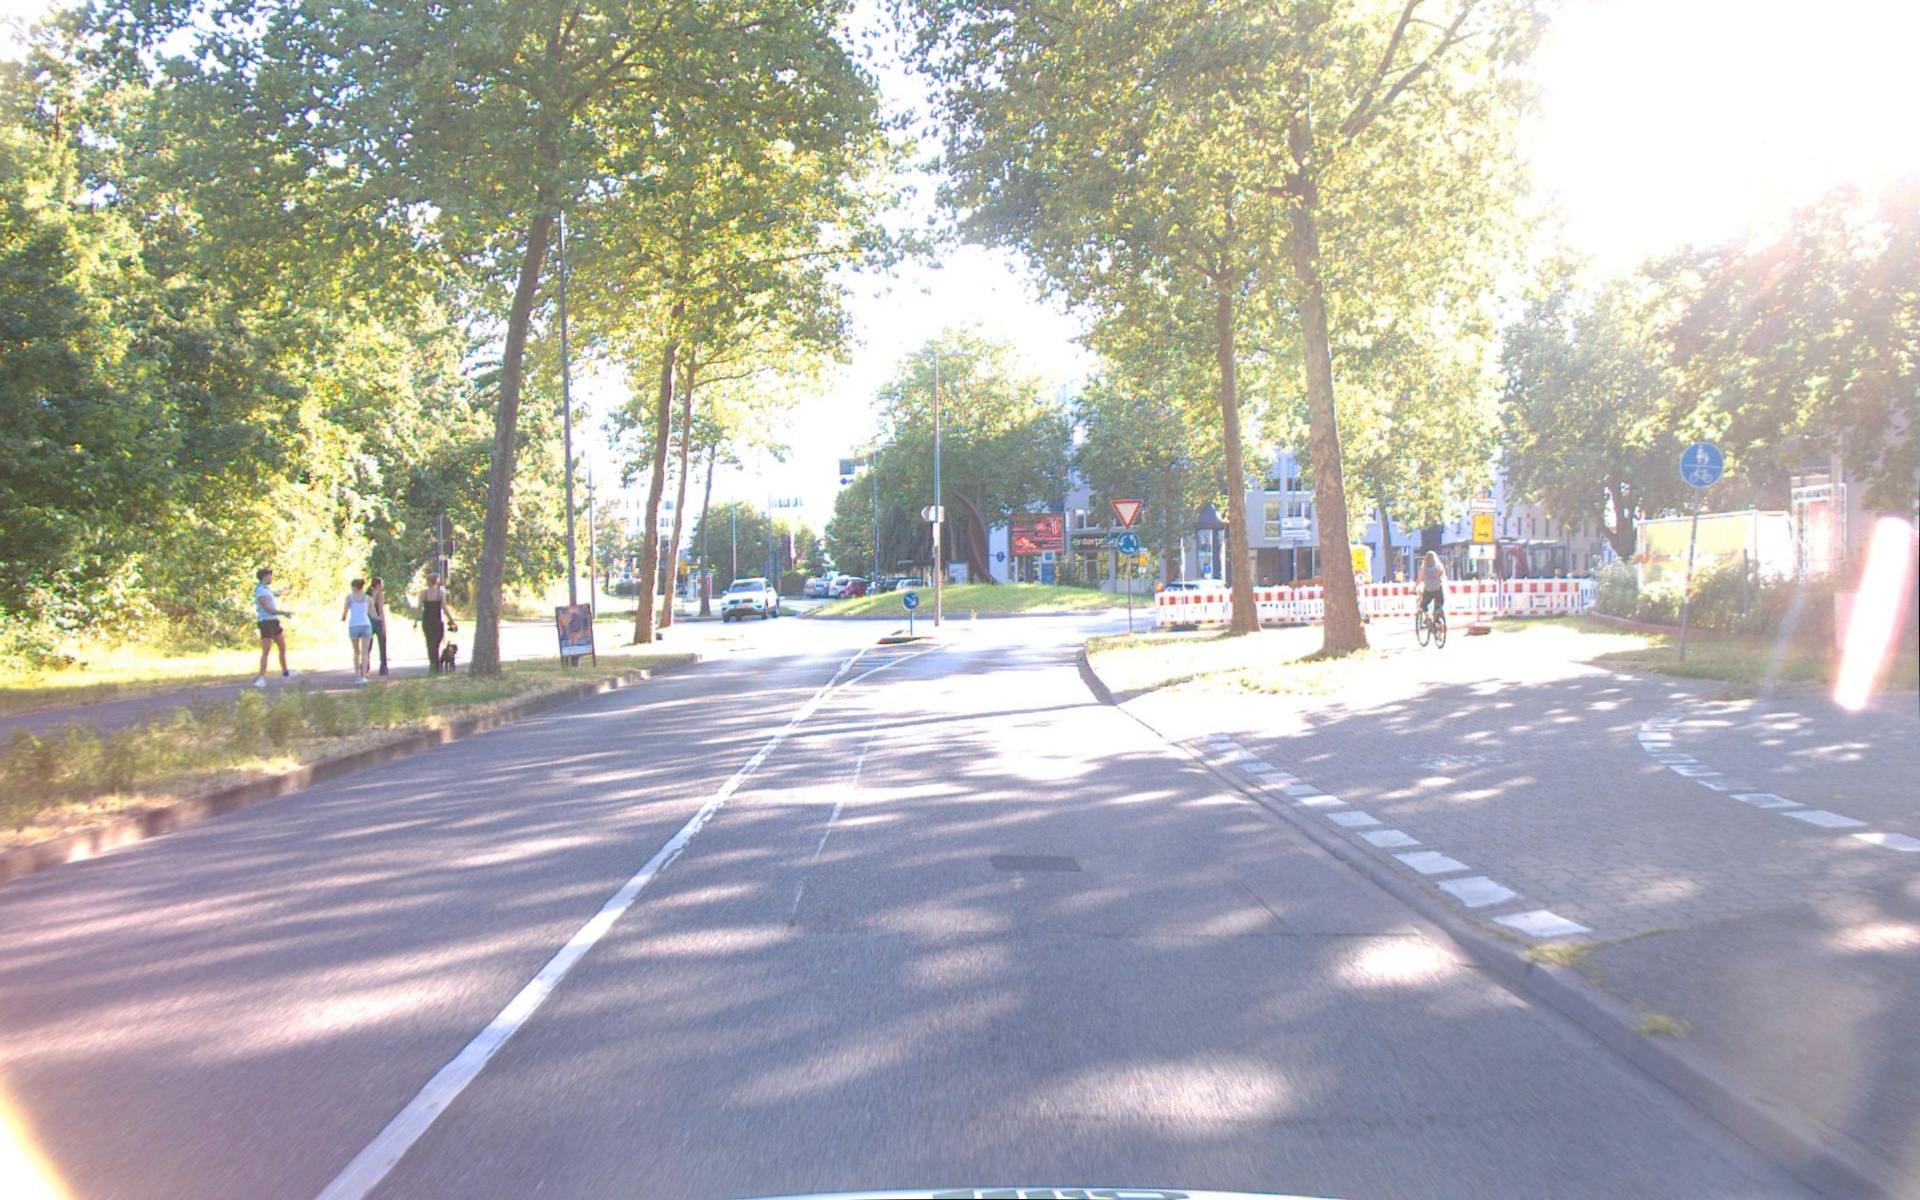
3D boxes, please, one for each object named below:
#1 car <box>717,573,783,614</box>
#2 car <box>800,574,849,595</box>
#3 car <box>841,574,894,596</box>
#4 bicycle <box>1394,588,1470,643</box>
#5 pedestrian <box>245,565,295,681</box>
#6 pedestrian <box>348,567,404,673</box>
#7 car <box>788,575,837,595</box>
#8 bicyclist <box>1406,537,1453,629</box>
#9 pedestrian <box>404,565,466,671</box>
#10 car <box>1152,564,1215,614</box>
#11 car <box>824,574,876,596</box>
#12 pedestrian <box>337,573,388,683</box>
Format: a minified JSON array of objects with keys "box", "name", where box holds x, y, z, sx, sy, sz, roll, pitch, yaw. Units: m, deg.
[{"box":[-8.573,-0.299,67.925,1.952,1.606,4.002,-1,1,4],"name":"car"},{"box":[-11.857,-1.358,144.548,3.946,1.777,1.777,0,1,-31],"name":"car"},{"box":[-7.471,-1.200,133.974,3.946,1.777,1.777,0,1,-31],"name":"car"},{"box":[8.974,0.284,31.535,0.754,0.981,2.174,-3,0,-1],"name":"bicycle"},{"box":[-10.668,0.344,25.586,0.653,1.769,0.631,-1,1,-21],"name":"pedestrian"},{"box":[-9.958,0.330,28.224,0.651,1.769,0.751,-1,1,1],"name":"pedestrian"},{"box":[-13.076,-1.328,146.486,3.946,1.777,1.777,0,1,-31],"name":"car"},{"box":[8.981,-0.330,31.634,0.637,1.735,0.871,0,1,0],"name":"bicyclist"},{"box":[-8.903,0.298,28.090,0.733,1.769,0.852,-1,1,1],"name":"pedestrian"},{"box":[7.777,-0.411,57.283,1.800,1.633,3.866,-1,1,13],"name":"car"},{"box":[-9.083,-1.253,136.490,3.946,1.777,1.777,0,1,-31],"name":"car"},{"box":[-9.260,0.425,25.660,0.621,1.666,0.575,-1,1,-11],"name":"pedestrian"}]
